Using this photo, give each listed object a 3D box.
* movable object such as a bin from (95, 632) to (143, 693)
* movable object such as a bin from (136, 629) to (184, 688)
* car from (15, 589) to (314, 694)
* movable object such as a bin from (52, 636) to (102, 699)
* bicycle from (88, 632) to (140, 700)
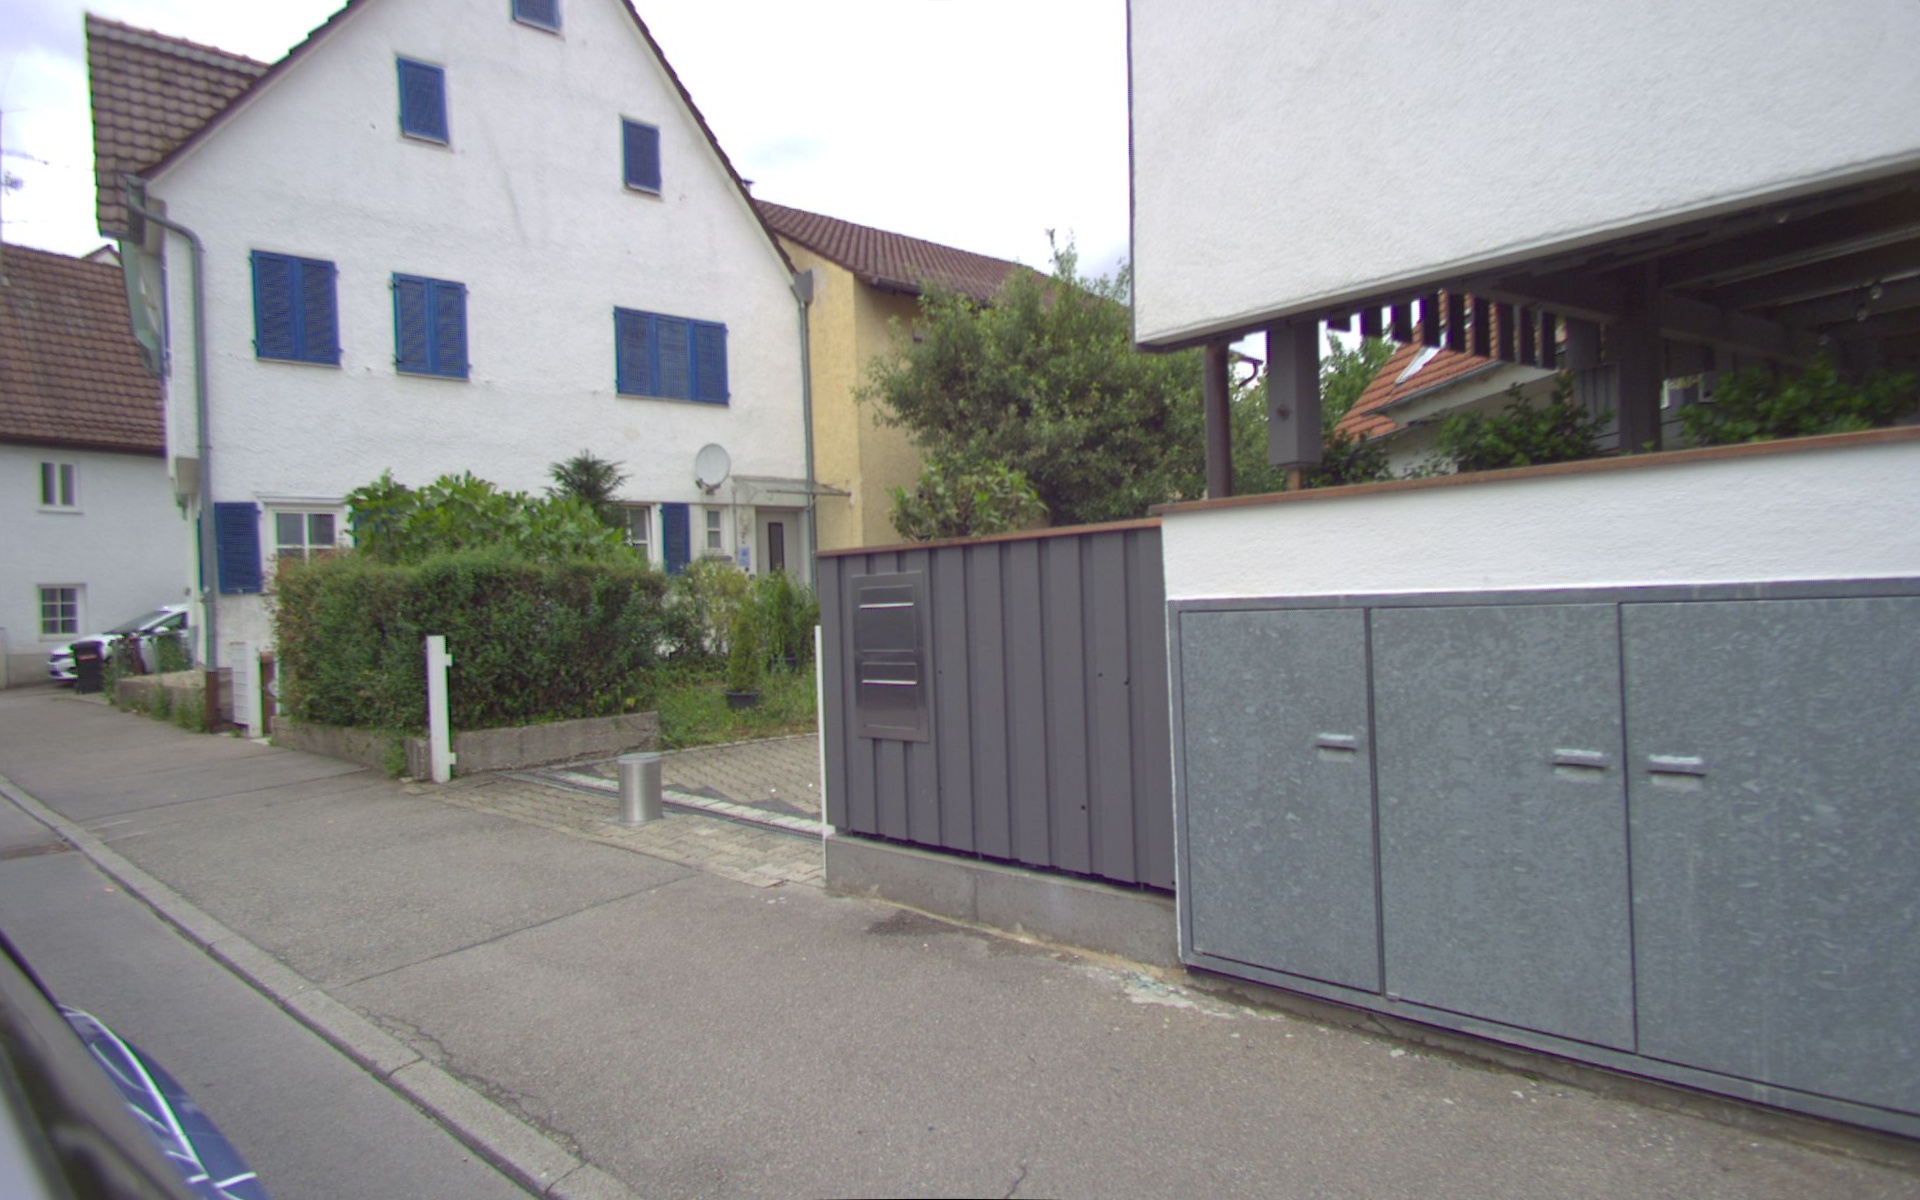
[{"bbox_3d":[-15.266,1.134,18.361,0.562,1.007,0.600,-8,2,-41],"label":"movable object such as a bin"},{"bbox_3d":[-14.786,1.076,18.704,0.549,1.007,0.623,-9,4,-40],"label":"movable object such as a bin"},{"bbox_3d":[-16.625,0.762,21.395,1.973,1.510,4.502,1,7,34],"label":"car"},{"bbox_3d":[-15.526,1.180,17.803,0.546,1.007,0.587,-8,2,-40],"label":"movable object such as a bin"},{"bbox_3d":[-14.385,1.086,17.239,0.437,1.046,2.097,-7,3,-36],"label":"bicycle"}]
